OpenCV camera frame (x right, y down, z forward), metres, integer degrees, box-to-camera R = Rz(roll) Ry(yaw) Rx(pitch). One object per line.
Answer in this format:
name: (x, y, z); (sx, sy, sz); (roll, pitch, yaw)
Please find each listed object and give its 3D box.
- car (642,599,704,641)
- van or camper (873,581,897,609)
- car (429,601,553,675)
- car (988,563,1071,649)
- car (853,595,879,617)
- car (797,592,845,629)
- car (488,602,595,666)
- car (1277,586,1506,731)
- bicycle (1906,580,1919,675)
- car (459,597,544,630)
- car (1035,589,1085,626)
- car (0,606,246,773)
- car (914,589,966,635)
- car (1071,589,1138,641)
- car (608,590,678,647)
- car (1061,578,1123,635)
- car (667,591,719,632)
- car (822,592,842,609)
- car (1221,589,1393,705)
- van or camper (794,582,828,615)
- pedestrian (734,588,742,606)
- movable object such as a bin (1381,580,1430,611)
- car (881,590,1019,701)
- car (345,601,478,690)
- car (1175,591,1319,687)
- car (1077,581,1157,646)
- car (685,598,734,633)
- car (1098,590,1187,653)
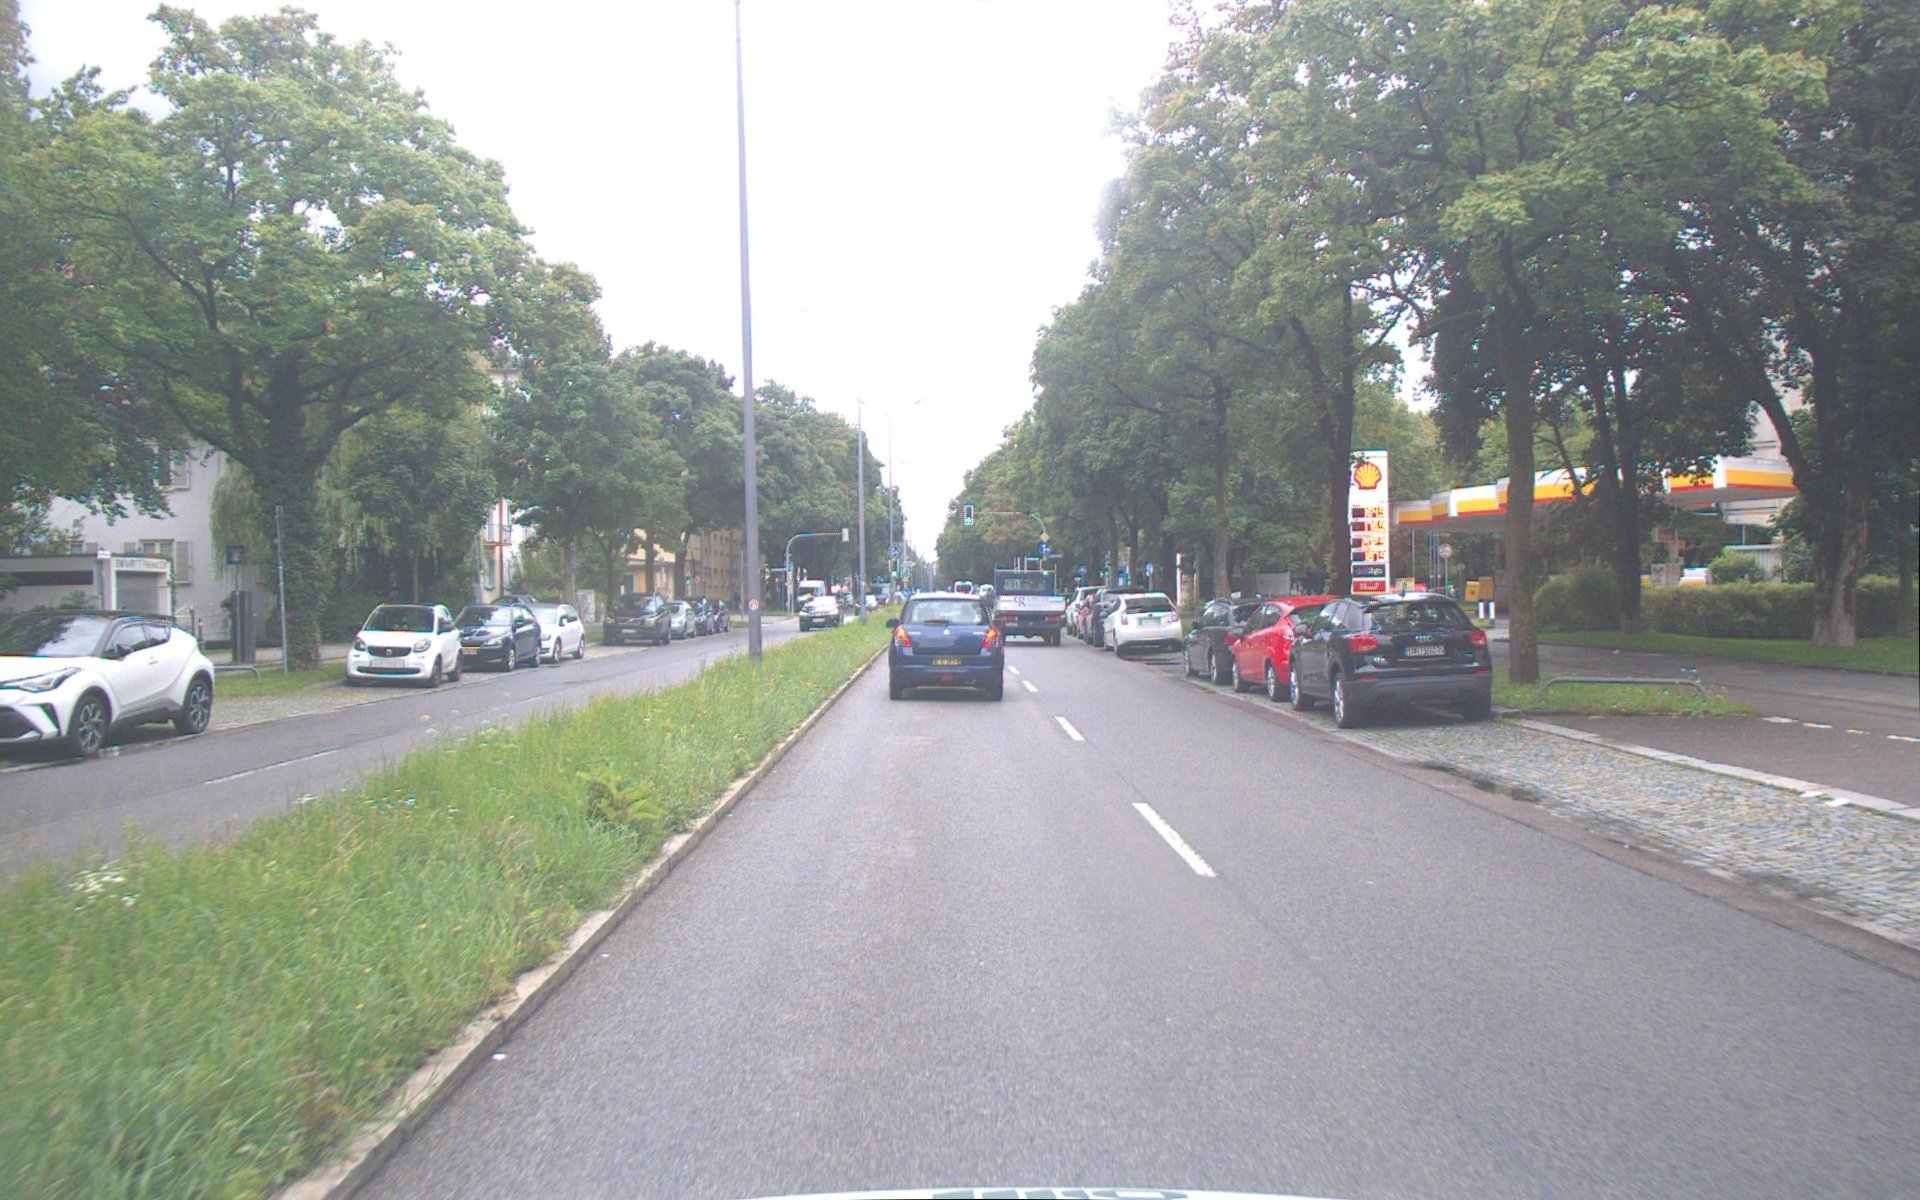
car: (-10.940, 0.741, 63.240); (1.632, 1.470, 4.374); (2, 0, -1)
van or camper: (-6.558, -0.459, 144.823); (1.982, 2.300, 6.020); (-2, 0, -2)
car: (-10.643, 0.825, 37.806); (1.640, 1.501, 4.214); (2, 0, -1)
car: (2.055, 0.160, 50.197); (2.369, 2.487, 5.087); (0, 0, 1)
car: (-6.774, 0.413, 119.475); (1.702, 1.467, 4.102); (-2, 0, -1)
car: (-5.919, 0.416, 70.872); (1.703, 1.465, 4.214); (-2, 0, -1)
car: (-10.704, 0.824, 42.581); (1.640, 1.468, 4.319); (2, 0, 0)
car: (5.238, 0.636, 20.663); (1.743, 1.537, 4.285); (-3, 0, 1)
bicycle: (12.572, 0.352, 20.176); (0.733, 1.203, 2.246); (-1, 0, -1)
car: (-21.799, 0.628, 78.673); (3.561, 1.487, 1.671); (-1, 0, -3)
car: (4.408, 0.296, 73.399); (1.678, 1.449, 4.281); (-5, 1, -2)
car: (-10.254, 0.941, 19.395); (1.795, 1.637, 4.491); (1, 0, 0)
car: (-0.710, 0.399, 59.077); (1.762, 1.525, 3.660); (-1, 0, -1)
car: (4.710, 0.459, 54.408); (1.725, 1.533, 4.142); (-3, 0, -1)
car: (-10.759, 0.590, 56.455); (1.761, 1.794, 5.053); (2, 0, -5)
car: (4.713, 0.211, 59.458); (1.725, 1.862, 4.527); (-3, 0, -1)
car: (-10.988, 0.459, 68.270); (1.633, 1.589, 4.296); (-1, 0, -3)
car: (-11.744, 0.054, 151.812); (1.603, 1.467, 3.734); (-2, 0, -1)
car: (5.166, 0.638, 25.123); (1.641, 1.527, 4.020); (-3, 0, -1)
van or camper: (-11.789, -0.140, 131.152); (2.096, 2.519, 6.258); (-2, 0, -1)
pedestrian: (-18.821, -0.268, 140.312); (0.616, 1.465, 0.806); (1, 0, -1)
movable object such as a bin: (22.960, -0.233, 85.256); (2.019, 1.512, 1.837); (-1, 0, -1)
car: (-0.227, 0.623, 24.753); (1.859, 1.525, 3.657); (0, 0, -4)
car: (-10.644, 0.847, 32.292); (1.657, 1.593, 3.078); (2, 0, -3)
car: (5.031, 0.625, 29.545); (1.641, 1.479, 4.581); (-3, 0, -1)
car: (4.624, 0.368, 49.348); (1.725, 1.728, 5.229); (-3, 0, -1)
car: (-11.147, 0.674, 73.820); (1.532, 1.475, 3.838); (2, 0, 1)
car: (4.771, 0.519, 43.788); (1.725, 1.479, 4.632); (-3, 0, -1)
